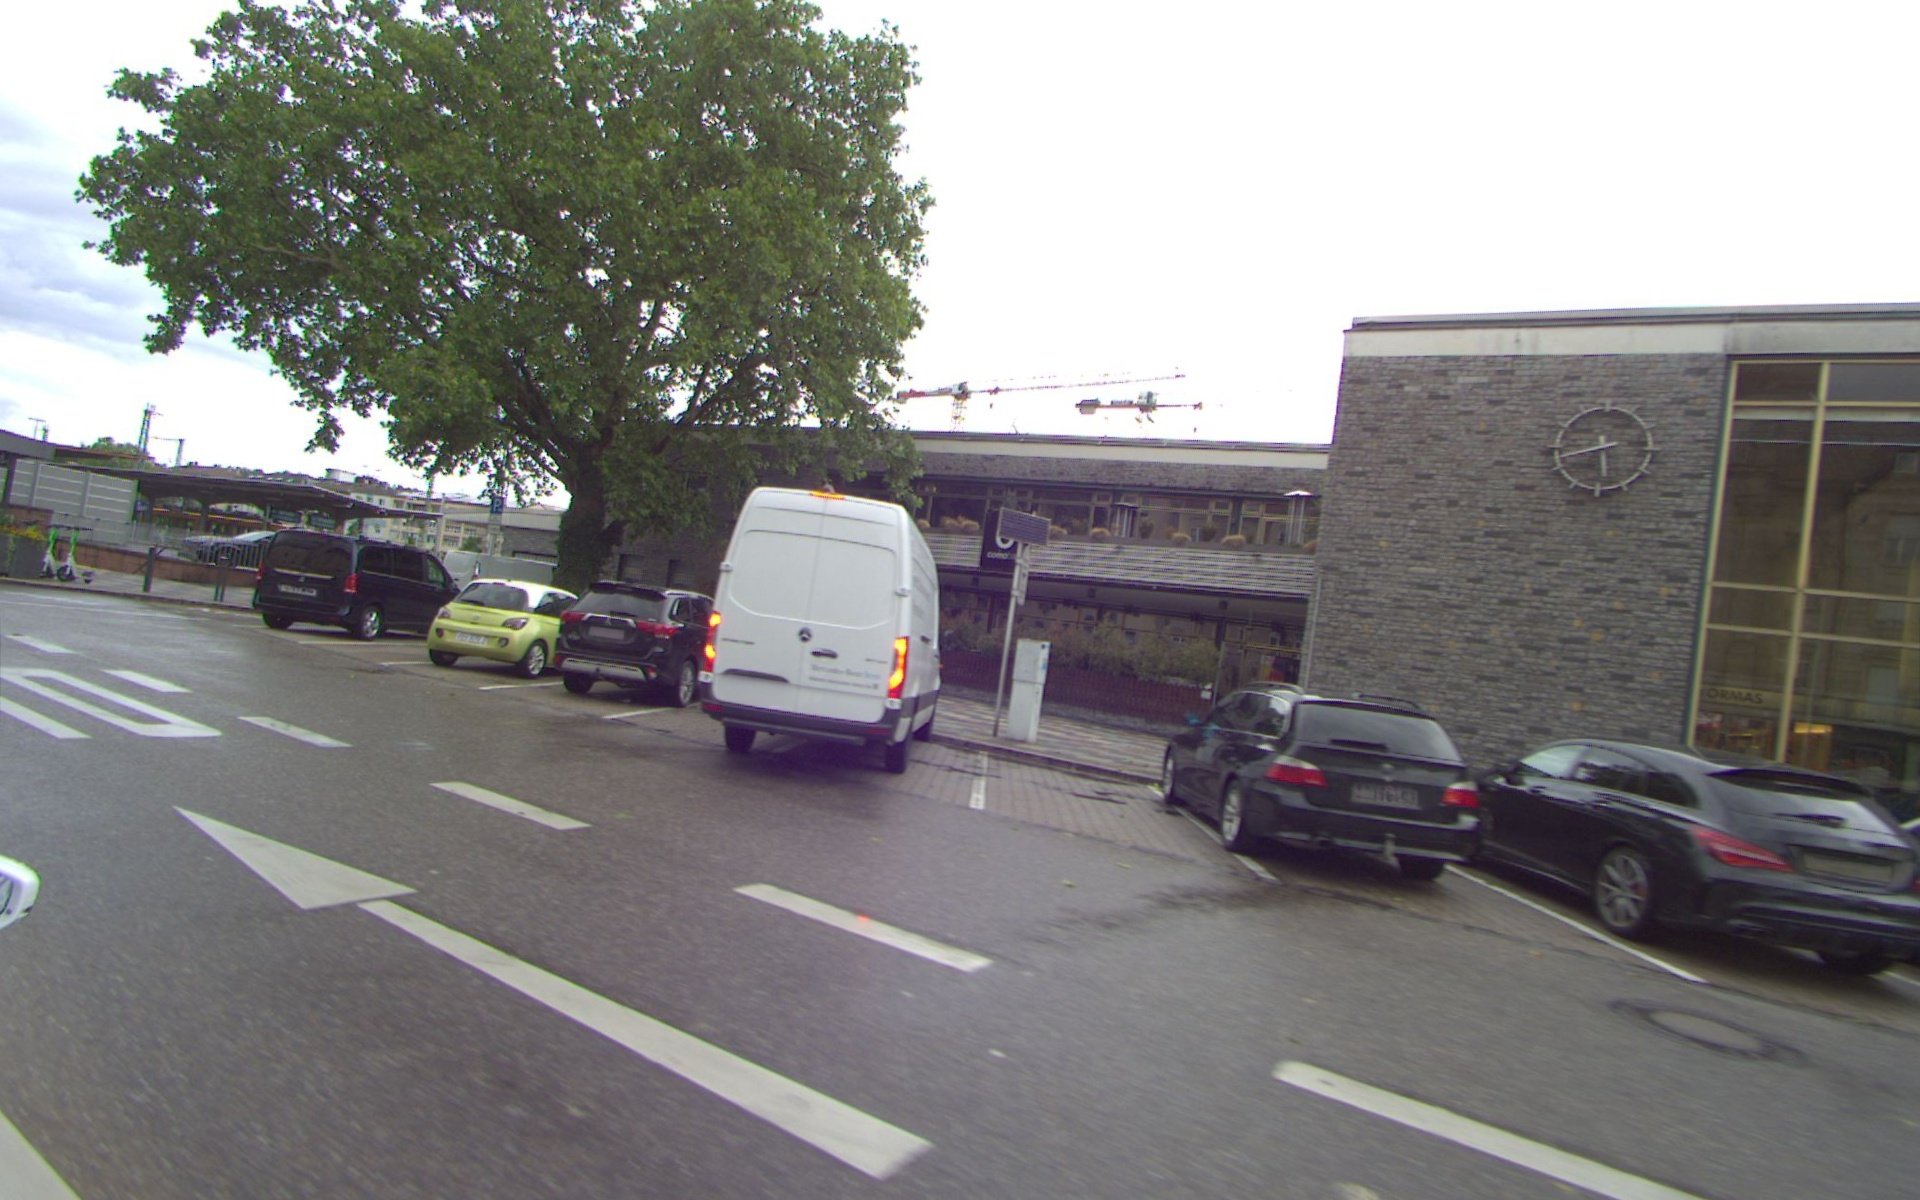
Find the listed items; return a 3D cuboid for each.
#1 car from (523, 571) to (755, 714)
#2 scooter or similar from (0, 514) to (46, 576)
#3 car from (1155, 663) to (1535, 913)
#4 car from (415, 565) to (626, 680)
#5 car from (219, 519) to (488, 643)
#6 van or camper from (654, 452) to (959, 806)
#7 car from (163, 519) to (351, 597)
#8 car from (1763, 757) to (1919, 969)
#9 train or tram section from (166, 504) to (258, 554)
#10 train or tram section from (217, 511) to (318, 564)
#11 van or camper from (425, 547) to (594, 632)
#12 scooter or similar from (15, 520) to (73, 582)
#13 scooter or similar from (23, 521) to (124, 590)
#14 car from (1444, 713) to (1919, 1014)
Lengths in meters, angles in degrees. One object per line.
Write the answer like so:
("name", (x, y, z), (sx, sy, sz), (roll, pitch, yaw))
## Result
("car", (-4.692, 0.643, 15.453), (1.849, 1.653, 4.240), (7, -2, 3))
("scooter or similar", (-19.221, -1.105, 20.504), (0.409, 1.167, 1.255), (10, -4, -27))
("car", (3.280, 1.525, 9.680), (1.884, 1.488, 4.474), (7, -2, 2))
("car", (-7.327, 0.413, 17.197), (1.730, 1.542, 3.593), (8, -2, 3))
("car", (-11.587, -0.238, 19.729), (2.069, 1.896, 4.704), (7, -2, 3))
("van or camper", (-1.385, 0.375, 12.290), (2.238, 2.903, 6.535), (7, -2, 2))
("car", (-23.796, -1.365, 34.276), (2.072, 1.896, 4.697), (7, -2, 28))
("car", (8.103, 2.159, 7.216), (1.746, 1.415, 3.623), (7, -2, 3))
("train or tram section", (-62.126, -5.941, 83.495), (8.981, 3.322, 2.658), (6, -1, 31))
("train or tram section", (-54.349, -4.938, 78.861), (9.361, 3.322, 2.658), (6, -1, 31))
("van or camper", (-13.862, -0.267, 31.207), (1.987, 2.013, 4.288), (7, -2, 30))
("scooter or similar", (-18.847, -0.991, 20.717), (0.409, 1.167, 1.255), (10, -4, -27))
("scooter or similar", (-18.892, -0.947, 21.439), (1.640, 1.167, 1.068), (7, -4, 32))
("car", (5.643, 1.857, 8.040), (1.746, 1.415, 3.693), (7, -2, 3))
